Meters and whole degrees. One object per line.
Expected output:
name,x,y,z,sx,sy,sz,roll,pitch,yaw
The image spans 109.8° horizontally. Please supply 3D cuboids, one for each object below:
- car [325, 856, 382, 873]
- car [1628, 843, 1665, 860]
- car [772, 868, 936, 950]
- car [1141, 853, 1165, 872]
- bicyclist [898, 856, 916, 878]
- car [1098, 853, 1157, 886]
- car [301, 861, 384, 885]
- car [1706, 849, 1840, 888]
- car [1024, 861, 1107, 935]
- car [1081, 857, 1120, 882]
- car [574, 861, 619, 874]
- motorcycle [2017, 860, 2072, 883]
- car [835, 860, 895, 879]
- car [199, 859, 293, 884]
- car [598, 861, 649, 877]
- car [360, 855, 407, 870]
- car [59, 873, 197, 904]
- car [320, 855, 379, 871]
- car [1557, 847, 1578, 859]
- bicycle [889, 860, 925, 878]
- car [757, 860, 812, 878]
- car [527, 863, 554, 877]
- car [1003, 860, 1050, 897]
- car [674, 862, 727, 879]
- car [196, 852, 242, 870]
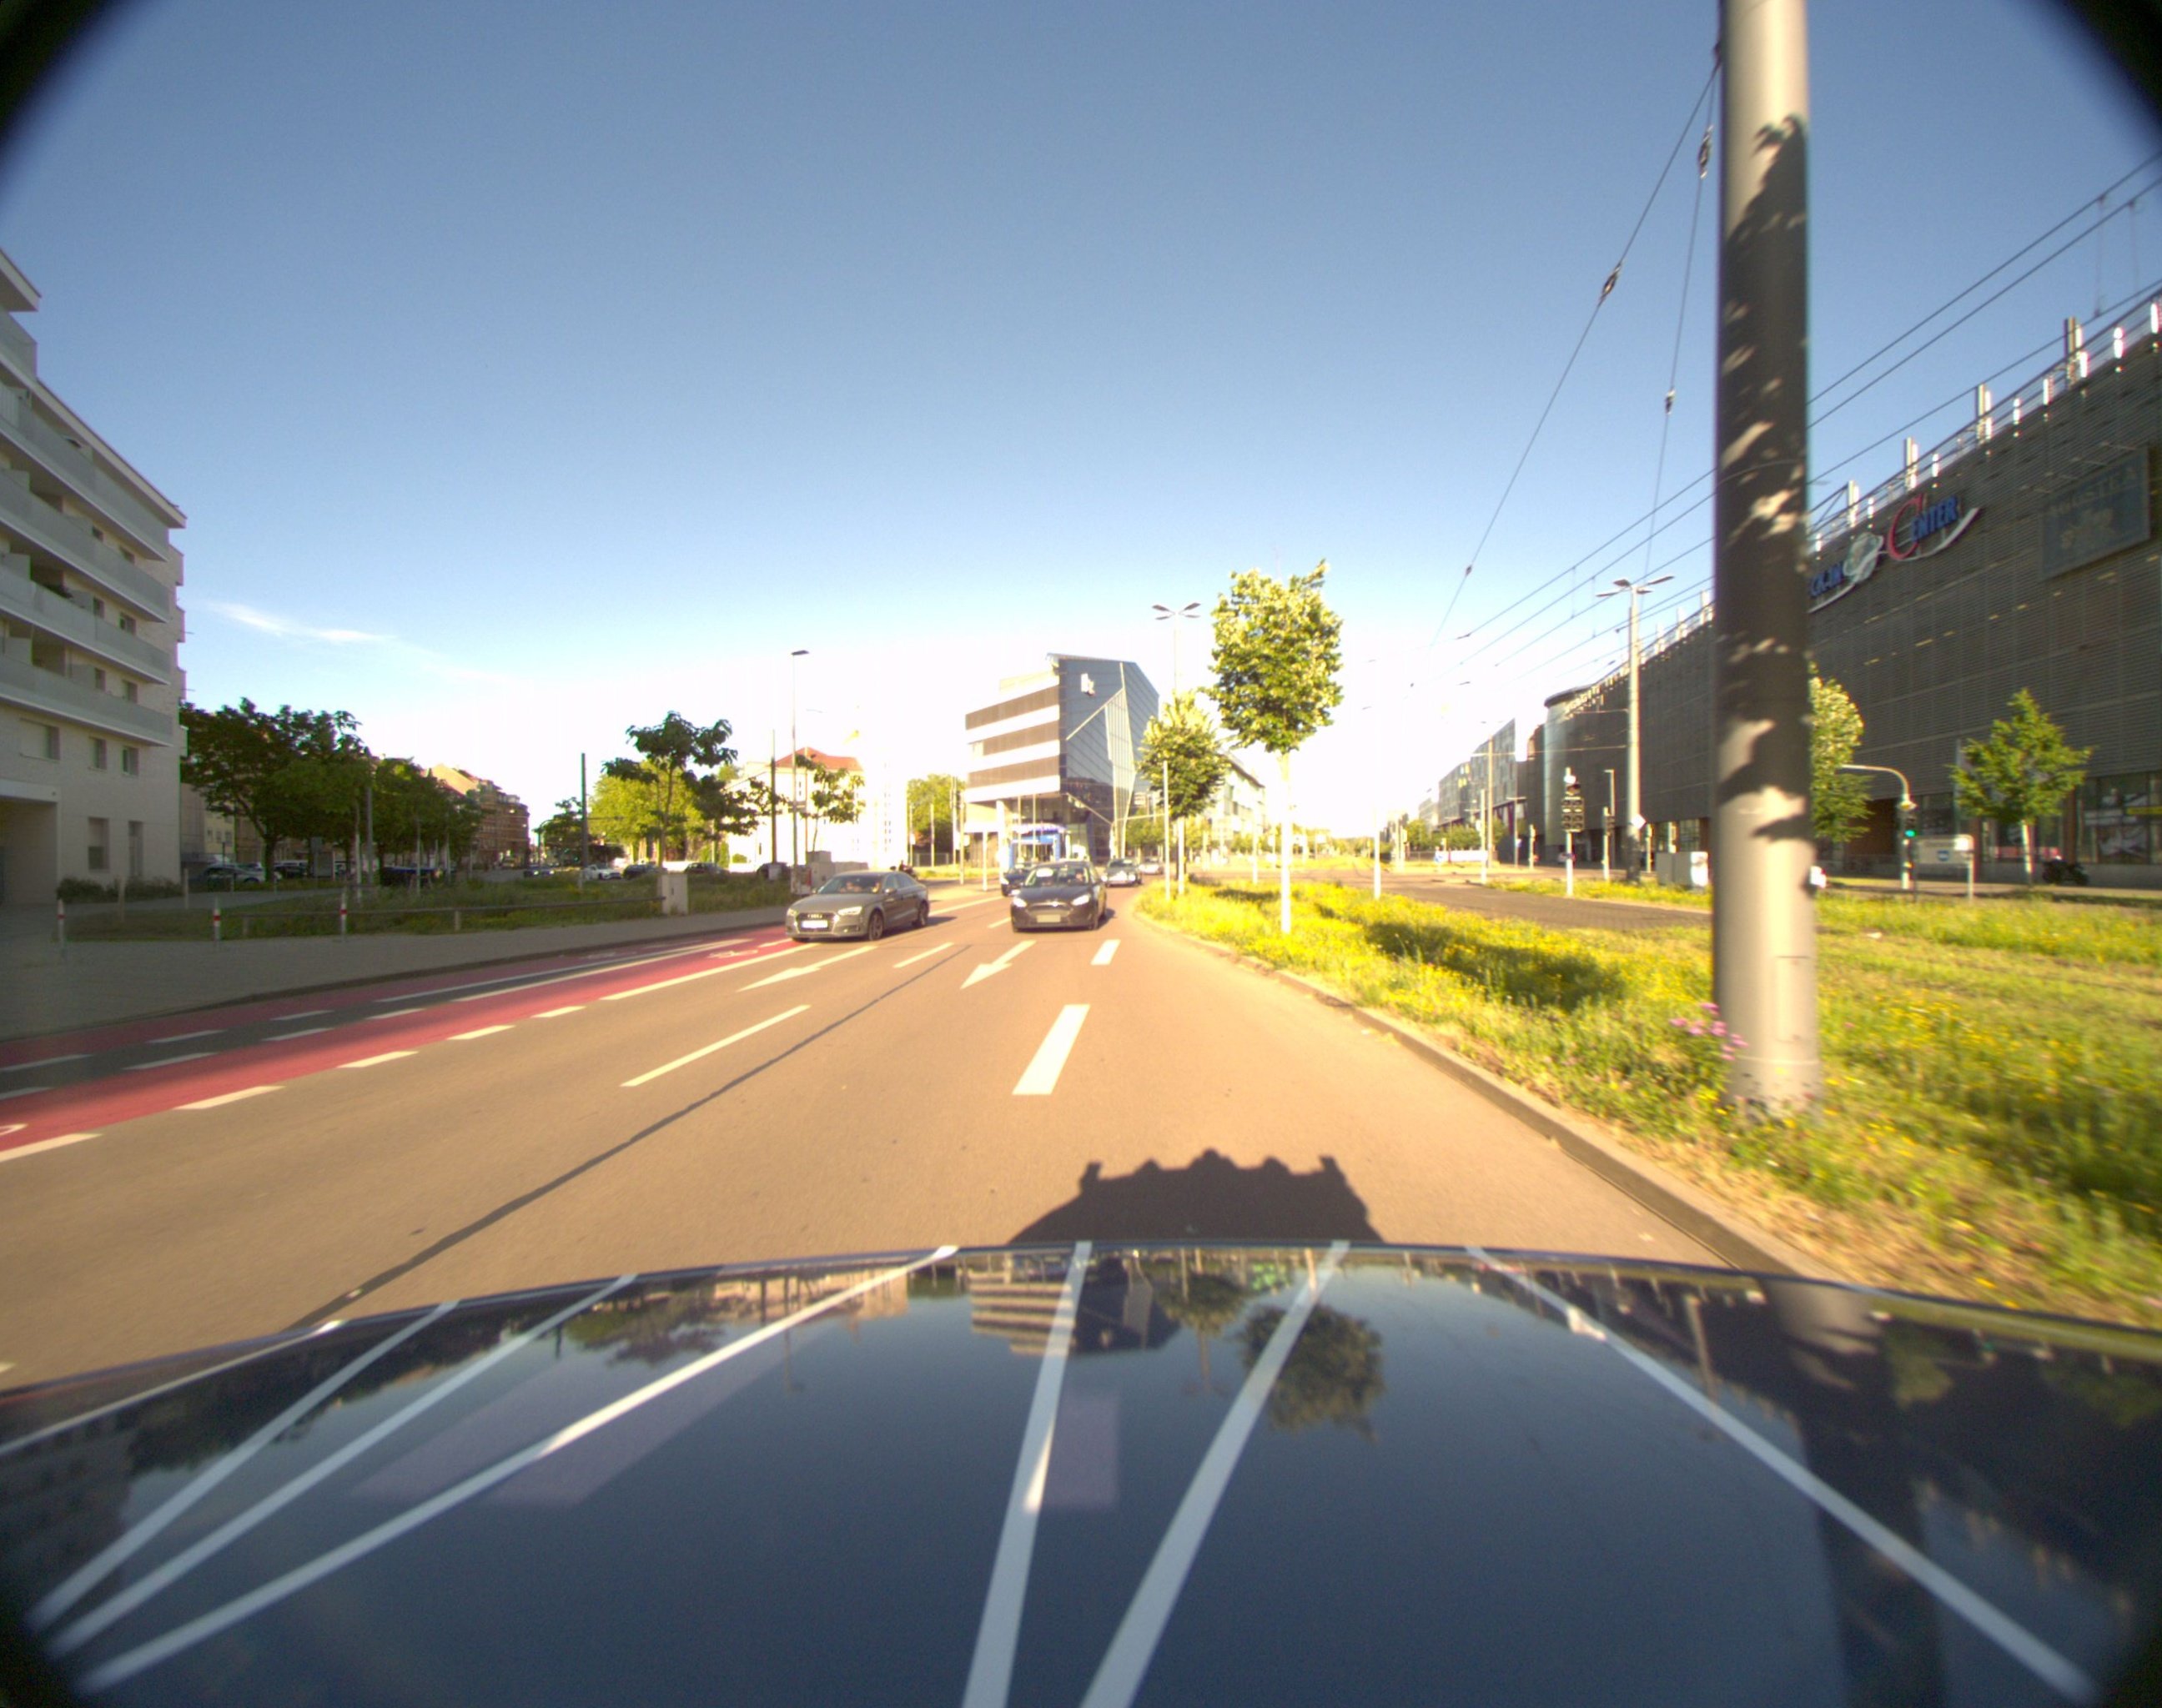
car,-79.501,1.117,83.114,1.995,1.707,4.006,0,0,21
car,55.157,-0.260,74.164,1.582,1.521,3.754,-2,1,15
car,-4.713,1.089,16.447,1.713,1.433,4.114,-1,0,10
car,5.852,0.649,61.577,1.619,1.421,3.769,-2,1,9
bicyclist,-12.873,0.956,56.241,1.006,1.598,0.881,-1,1,15
car,2.498,0.808,40.203,1.747,1.495,3.886,-5,-1,24
car,-55.868,1.414,57.580,1.996,1.707,4.004,-1,1,15
car,25.327,0.471,28.034,1.808,1.320,4.410,0,1,15
car,-0.358,0.930,17.770,1.690,1.425,4.152,-1,0,-1
car,1.214,0.920,46.294,1.437,1.437,4.004,-1,0,15
car,-46.704,1.295,73.256,3.989,1.237,2.004,-1,1,30
motorcycle,41.927,0.742,33.098,0.427,0.914,2.027,0,1,18
car,-17.350,1.224,61.076,4.285,1.414,2.003,-1,1,22
car,-60.076,1.242,54.763,1.996,1.707,4.004,-1,1,15
car,-42.731,1.367,70.970,4.514,1.414,2.004,-1,1,28
car,-91.599,1.108,99.801,1.995,1.805,4.006,0,1,24
car,-49.645,1.784,39.699,4.004,1.390,1.996,-1,1,-20
car,-81.645,1.025,84.813,1.995,1.707,4.269,0,1,27
car,60.702,-0.139,94.843,1.688,1.364,3.597,0,1,26
bicycle,-12.859,1.114,56.225,2.367,1.304,0.952,-1,1,15
car,-24.824,1.266,63.688,3.990,1.414,2.003,-1,1,22
car,-56.989,1.640,80.104,1.938,1.368,3.989,-1,1,-40
car,-2.366,1.047,33.732,1.736,1.437,4.000,-1,0,1
car,-33.211,1.447,66.296,3.990,1.414,2.003,-1,1,22
car,-85.650,0.707,75.596,2.003,1.707,4.251,-1,1,-34
